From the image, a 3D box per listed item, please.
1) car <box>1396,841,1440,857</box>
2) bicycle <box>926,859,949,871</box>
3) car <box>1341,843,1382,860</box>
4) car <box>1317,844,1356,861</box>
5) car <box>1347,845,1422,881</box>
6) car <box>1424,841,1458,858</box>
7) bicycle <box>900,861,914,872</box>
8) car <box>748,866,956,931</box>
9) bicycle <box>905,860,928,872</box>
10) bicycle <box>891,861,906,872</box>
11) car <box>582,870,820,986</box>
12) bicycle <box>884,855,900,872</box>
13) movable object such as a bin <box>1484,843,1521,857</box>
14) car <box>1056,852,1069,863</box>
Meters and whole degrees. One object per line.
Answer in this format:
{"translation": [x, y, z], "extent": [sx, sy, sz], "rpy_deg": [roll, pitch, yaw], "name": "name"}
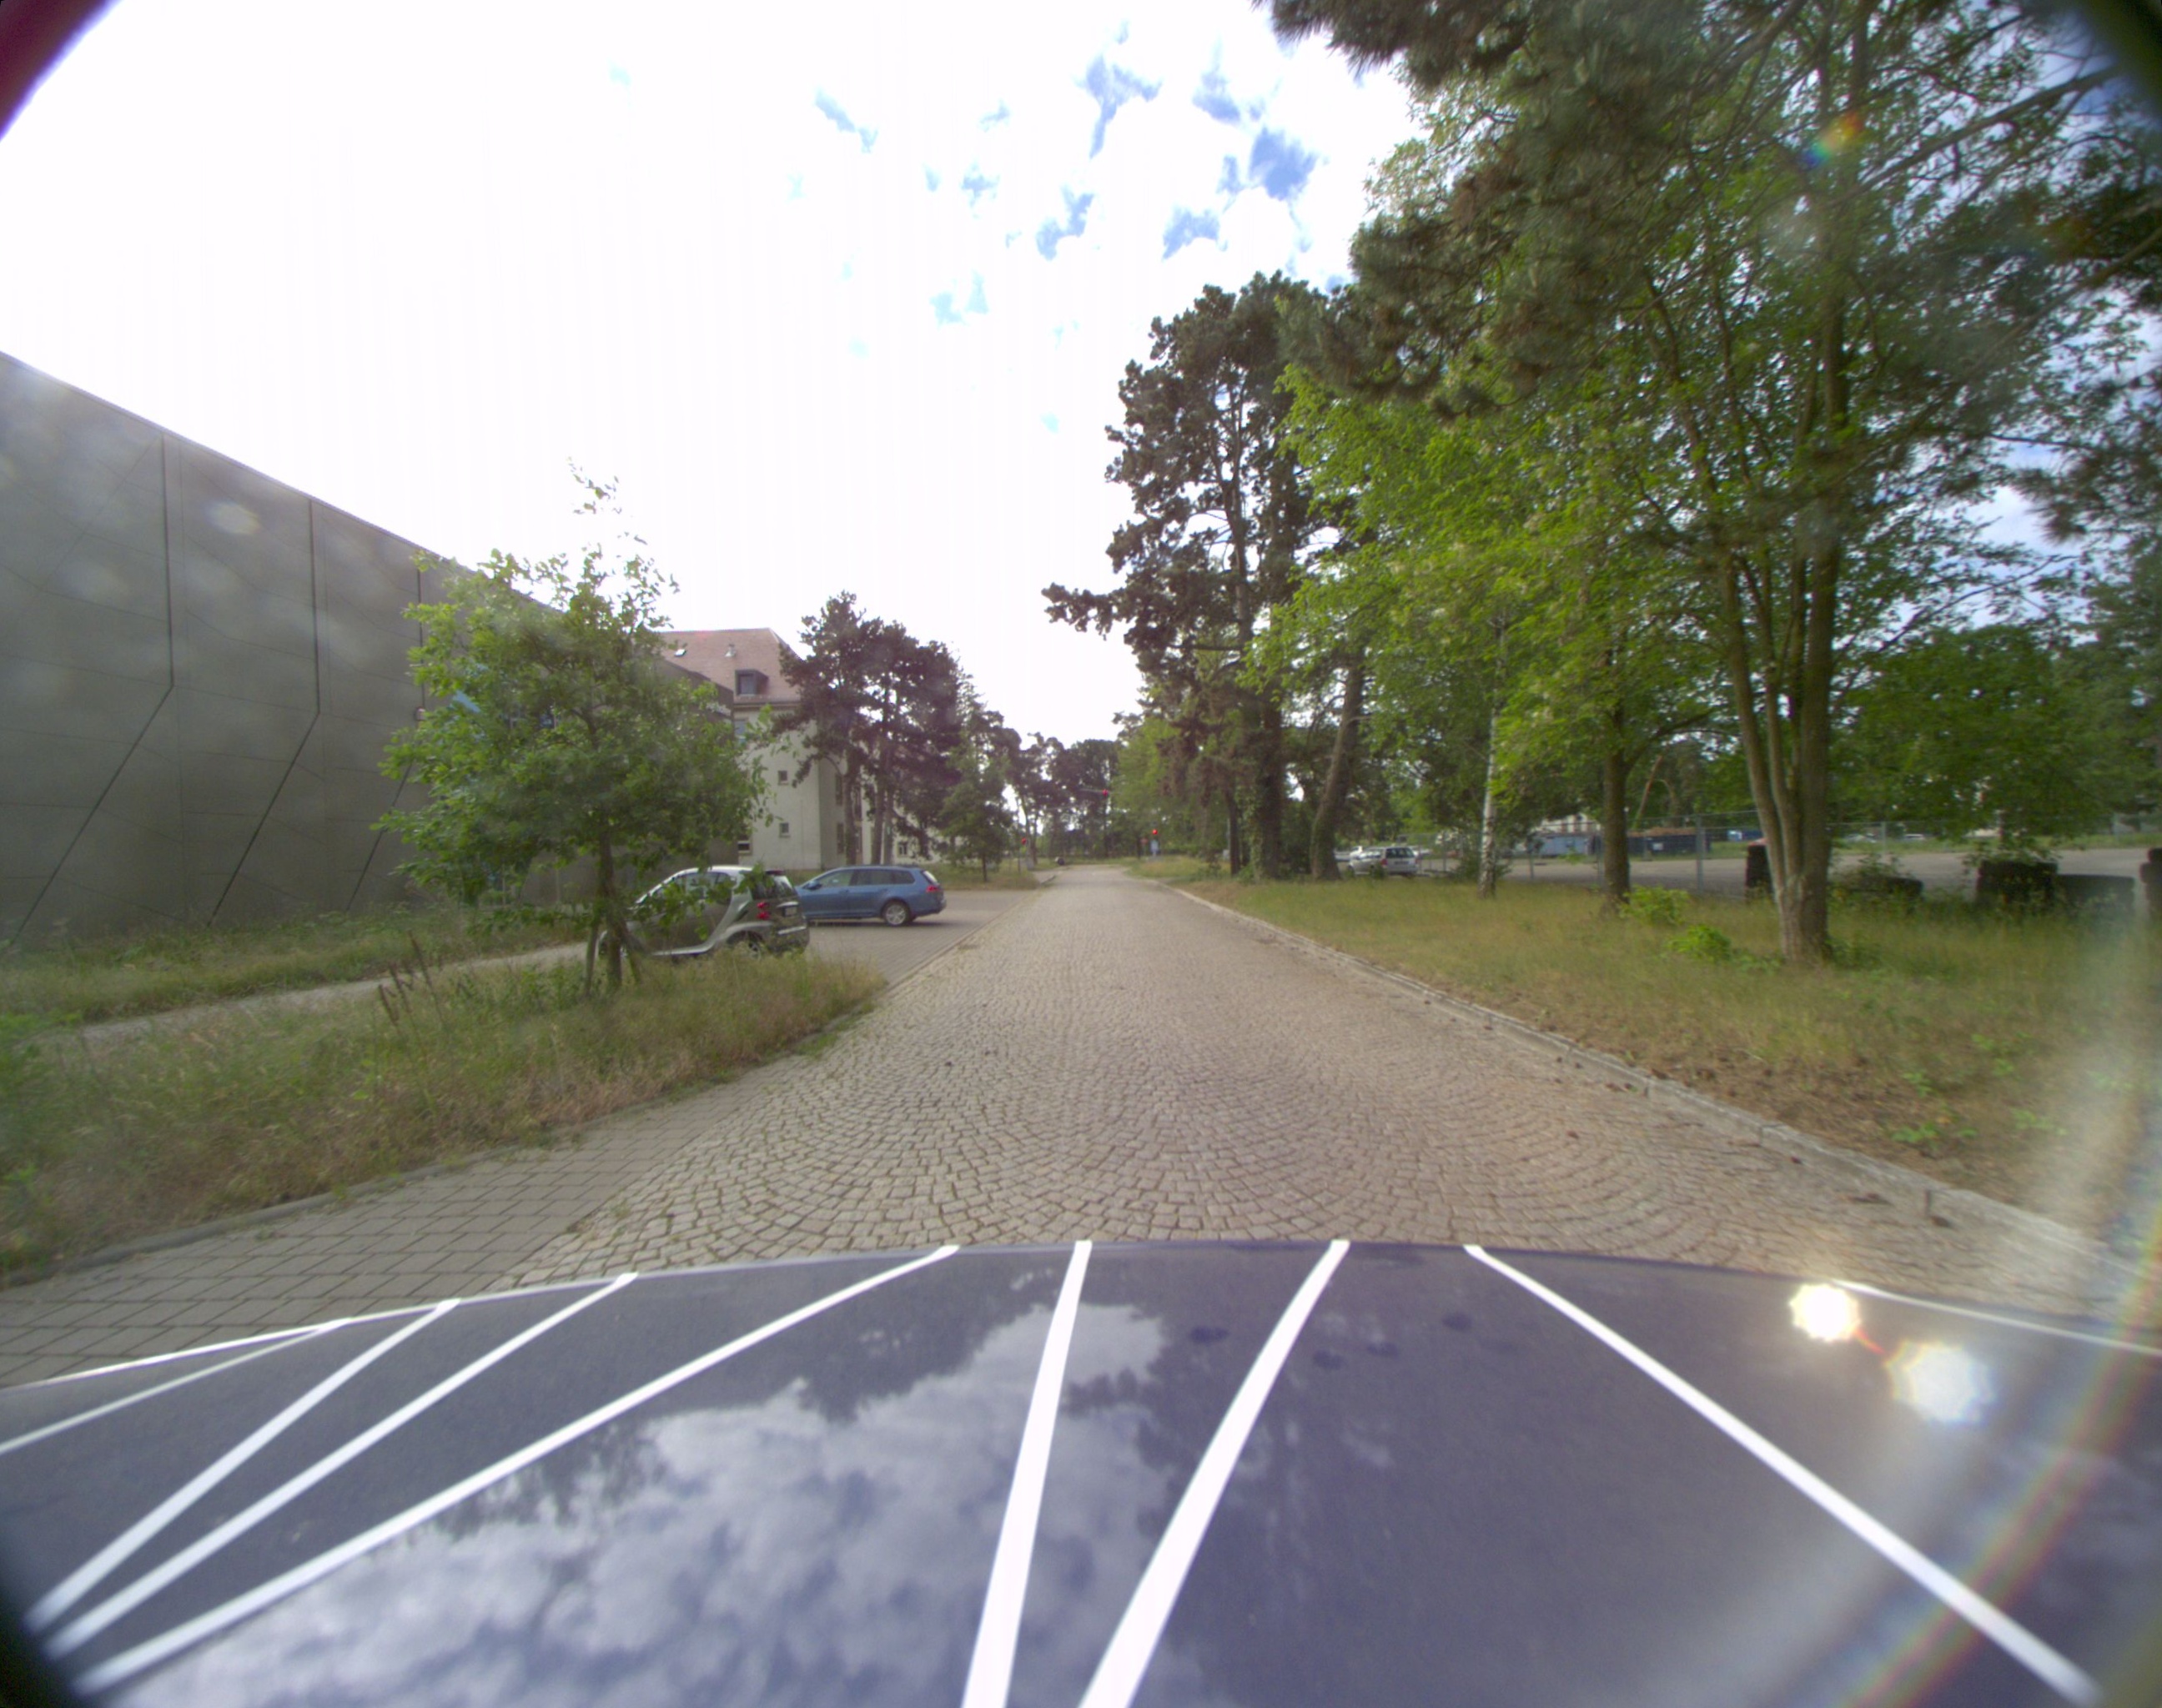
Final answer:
{"translation": [31.587, -0.459, 71.372], "extent": [1.999, 1.441, 4.452], "rpy_deg": [-2, 0, -3], "name": "car"}
{"translation": [-14.596, 1.124, 77.175], "extent": [2.164, 1.089, 0.717], "rpy_deg": [-2, 1, -3], "name": "bicycle"}
{"translation": [26.118, -0.251, 70.809], "extent": [1.999, 1.441, 4.452], "rpy_deg": [-2, 0, -3], "name": "car"}
{"translation": [23.606, -0.152, 70.359], "extent": [1.999, 1.441, 4.452], "rpy_deg": [-2, 0, -3], "name": "car"}
{"translation": [13.055, 0.356, 32.913], "extent": [1.670, 1.402, 3.723], "rpy_deg": [-2, 0, -2], "name": "car"}
{"translation": [38.550, -0.497, 81.442], "extent": [1.611, 1.674, 3.803], "rpy_deg": [-2, 0, -4], "name": "car"}
{"translation": [-17.956, 1.246, 78.346], "extent": [0.799, 1.051, 2.166], "rpy_deg": [-2, 0, 4], "name": "bicycle"}
{"translation": [-5.516, 1.061, 18.766], "extent": [4.537, 1.441, 1.931], "rpy_deg": [1, 0, -1], "name": "car"}
{"translation": [-16.677, 1.218, 77.257], "extent": [2.164, 1.051, 0.717], "rpy_deg": [-2, 1, -3], "name": "bicycle"}
{"translation": [-18.805, 1.273, 78.364], "extent": [0.799, 1.051, 2.199], "rpy_deg": [-2, 0, 4], "name": "bicycle"}
{"translation": [-5.641, 1.055, 11.532], "extent": [2.748, 1.573, 1.682], "rpy_deg": [1, 0, 1], "name": "car"}
{"translation": [-19.572, 0.959, 78.702], "extent": [0.905, 1.722, 2.199], "rpy_deg": [-2, 1, 4], "name": "bicycle"}
{"translation": [32.449, -0.307, 58.557], "extent": [1.057, 1.065, 2.719], "rpy_deg": [-2, 0, -8], "name": "movable object such as a bin"}
{"translation": [-3.288, 0.592, 134.367], "extent": [1.999, 1.777, 3.998], "rpy_deg": [-2, 0, -5], "name": "car"}
